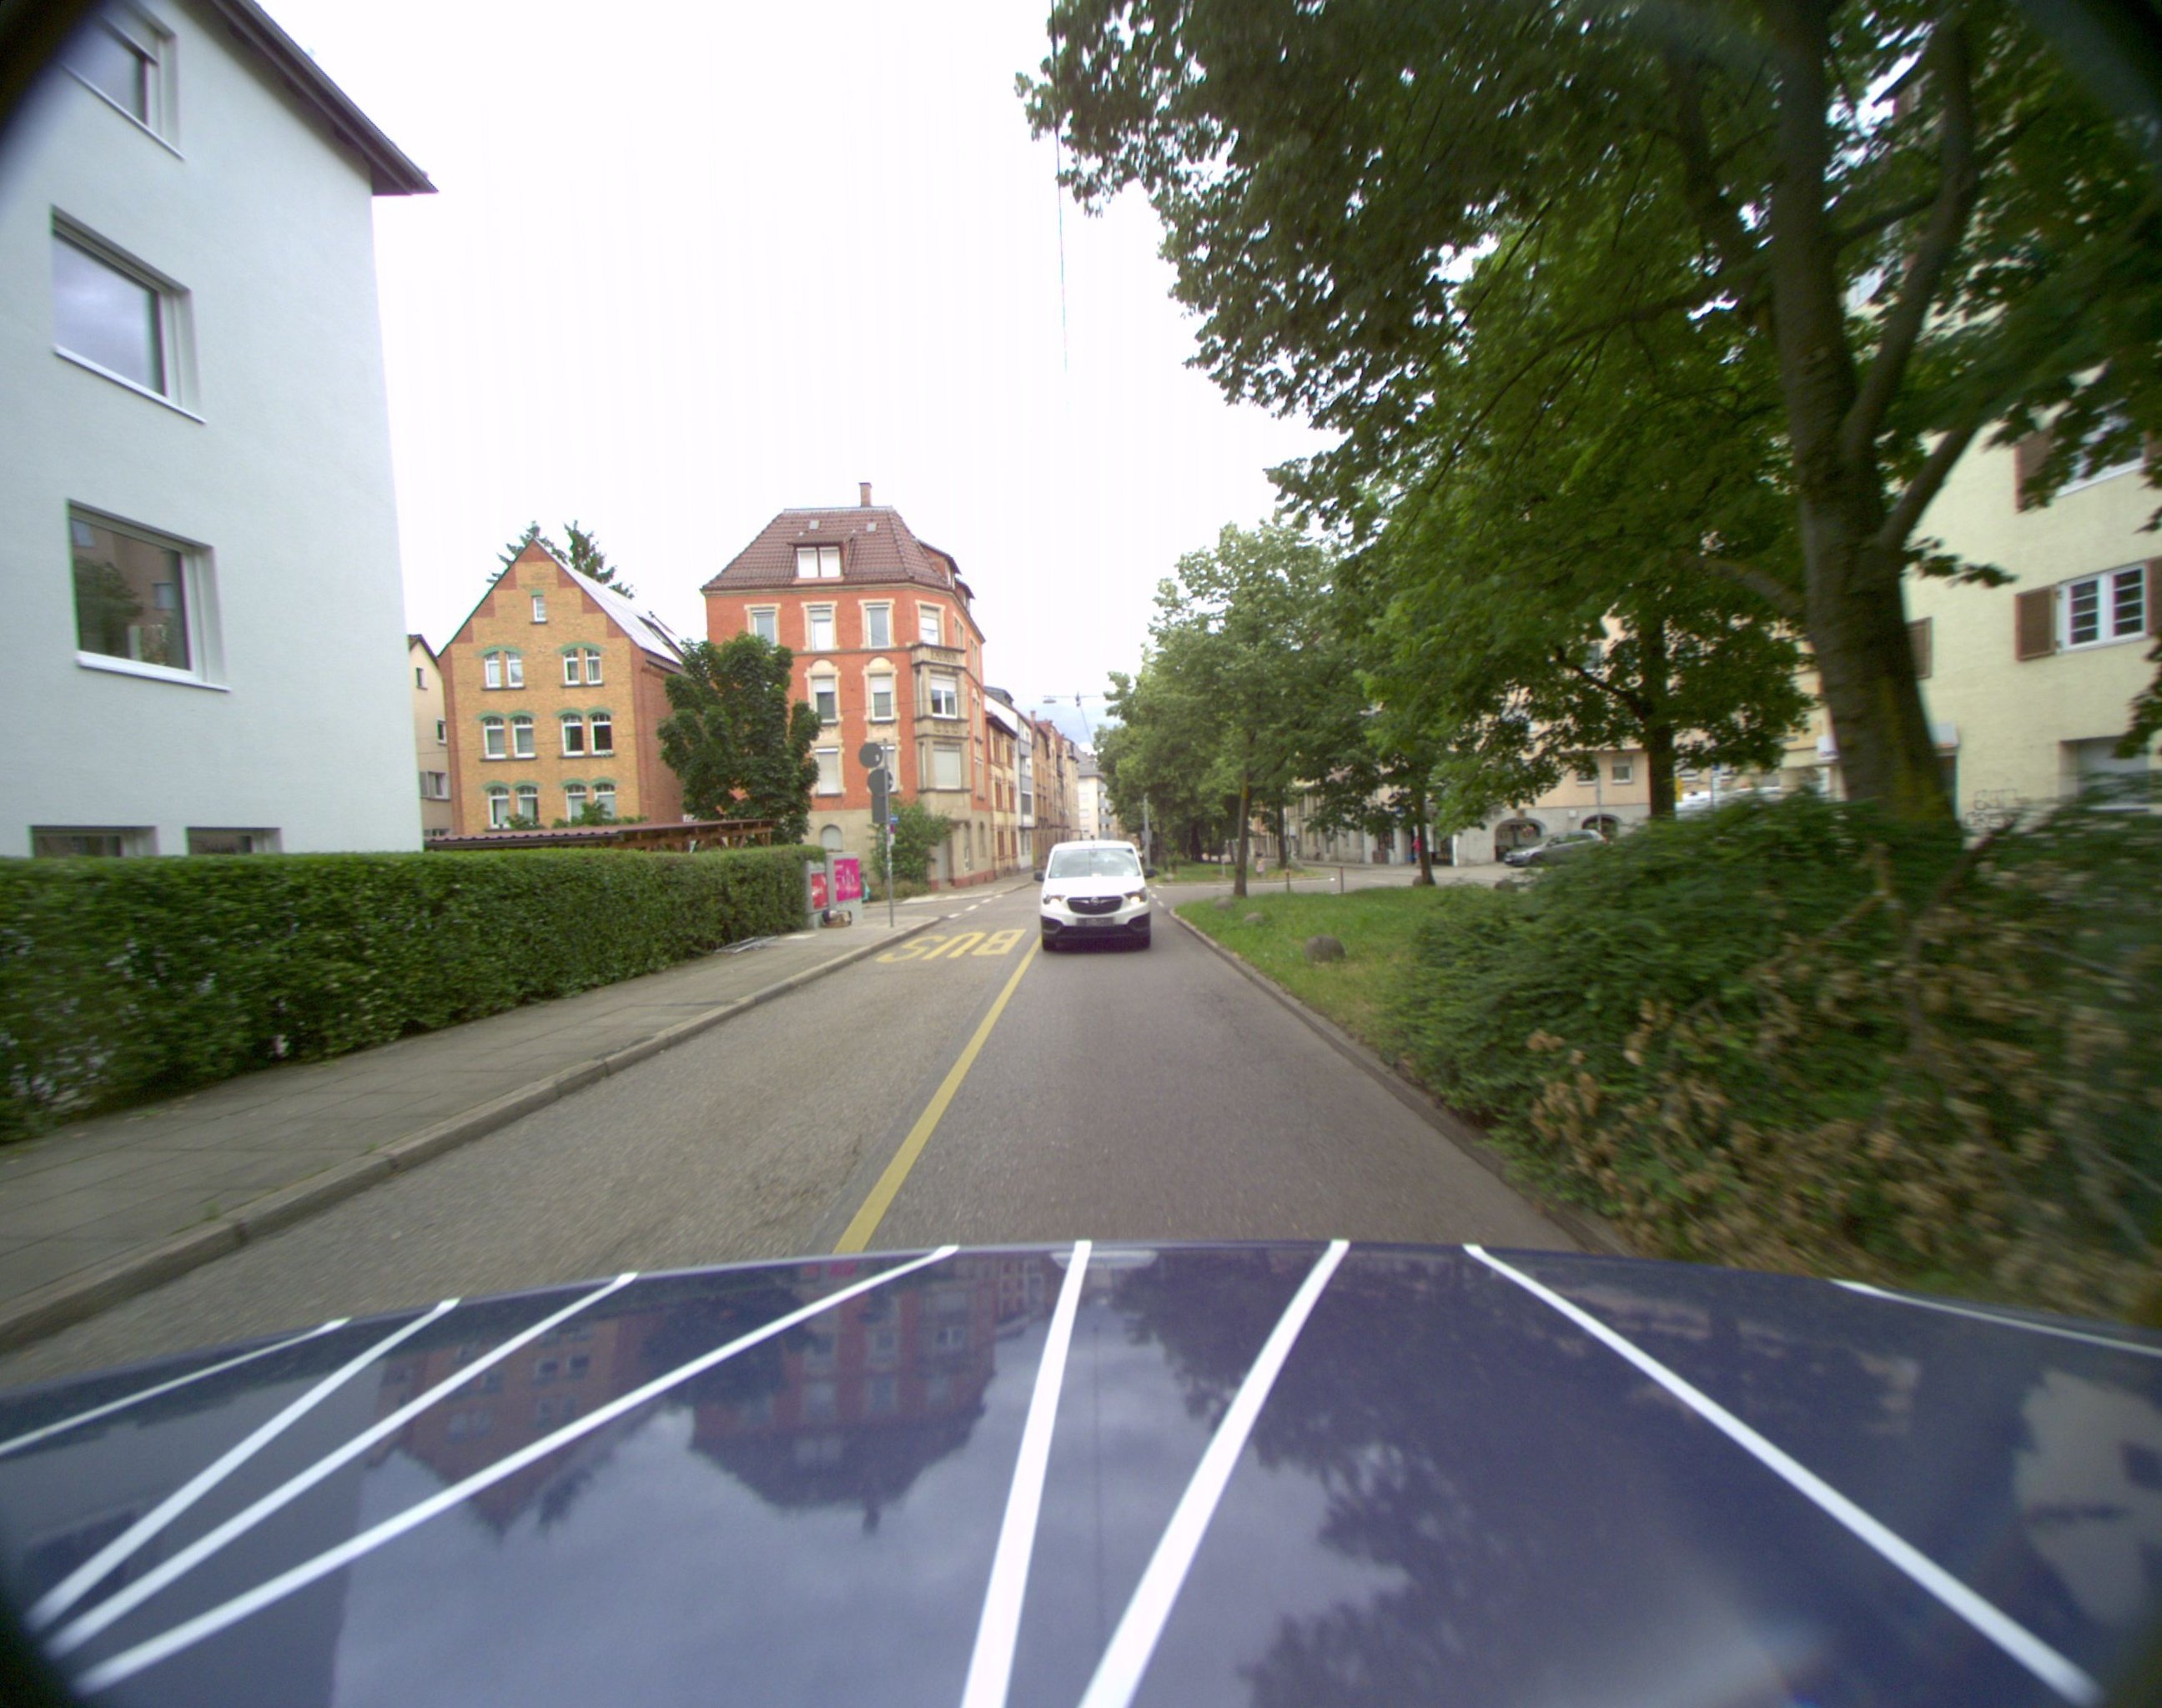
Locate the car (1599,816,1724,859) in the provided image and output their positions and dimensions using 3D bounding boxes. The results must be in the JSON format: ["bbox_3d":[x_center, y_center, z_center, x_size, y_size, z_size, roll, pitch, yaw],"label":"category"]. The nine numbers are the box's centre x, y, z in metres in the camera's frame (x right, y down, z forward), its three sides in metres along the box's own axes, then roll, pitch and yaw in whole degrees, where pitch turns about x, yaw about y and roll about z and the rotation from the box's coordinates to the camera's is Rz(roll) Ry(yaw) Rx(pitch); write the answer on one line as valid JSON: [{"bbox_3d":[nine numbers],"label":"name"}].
[{"bbox_3d":[26.005,-0.737,34.122,3.998,1.412,1.999,-7,1,-2],"label":"car"}]

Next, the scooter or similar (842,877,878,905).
[{"bbox_3d":[-8.843,1.478,30.357,1.237,1.010,0.415,-4,1,1],"label":"scooter or similar"}]

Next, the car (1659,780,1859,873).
[{"bbox_3d":[22.618,-0.902,25.437,5.190,2.720,2.175,-3,1,-10],"label":"car"}]

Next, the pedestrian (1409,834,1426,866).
[{"bbox_3d":[17.907,-0.195,40.442,0.533,1.656,0.701,-2,1,3],"label":"pedestrian"}]

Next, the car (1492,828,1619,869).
[{"bbox_3d":[21.330,-0.240,34.305,4.298,1.411,2.048,-5,0,4],"label":"car"}]

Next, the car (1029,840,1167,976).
[{"bbox_3d":[0.467,0.730,12.648,1.744,1.830,4.345,-2,1,8],"label":"car"}]
